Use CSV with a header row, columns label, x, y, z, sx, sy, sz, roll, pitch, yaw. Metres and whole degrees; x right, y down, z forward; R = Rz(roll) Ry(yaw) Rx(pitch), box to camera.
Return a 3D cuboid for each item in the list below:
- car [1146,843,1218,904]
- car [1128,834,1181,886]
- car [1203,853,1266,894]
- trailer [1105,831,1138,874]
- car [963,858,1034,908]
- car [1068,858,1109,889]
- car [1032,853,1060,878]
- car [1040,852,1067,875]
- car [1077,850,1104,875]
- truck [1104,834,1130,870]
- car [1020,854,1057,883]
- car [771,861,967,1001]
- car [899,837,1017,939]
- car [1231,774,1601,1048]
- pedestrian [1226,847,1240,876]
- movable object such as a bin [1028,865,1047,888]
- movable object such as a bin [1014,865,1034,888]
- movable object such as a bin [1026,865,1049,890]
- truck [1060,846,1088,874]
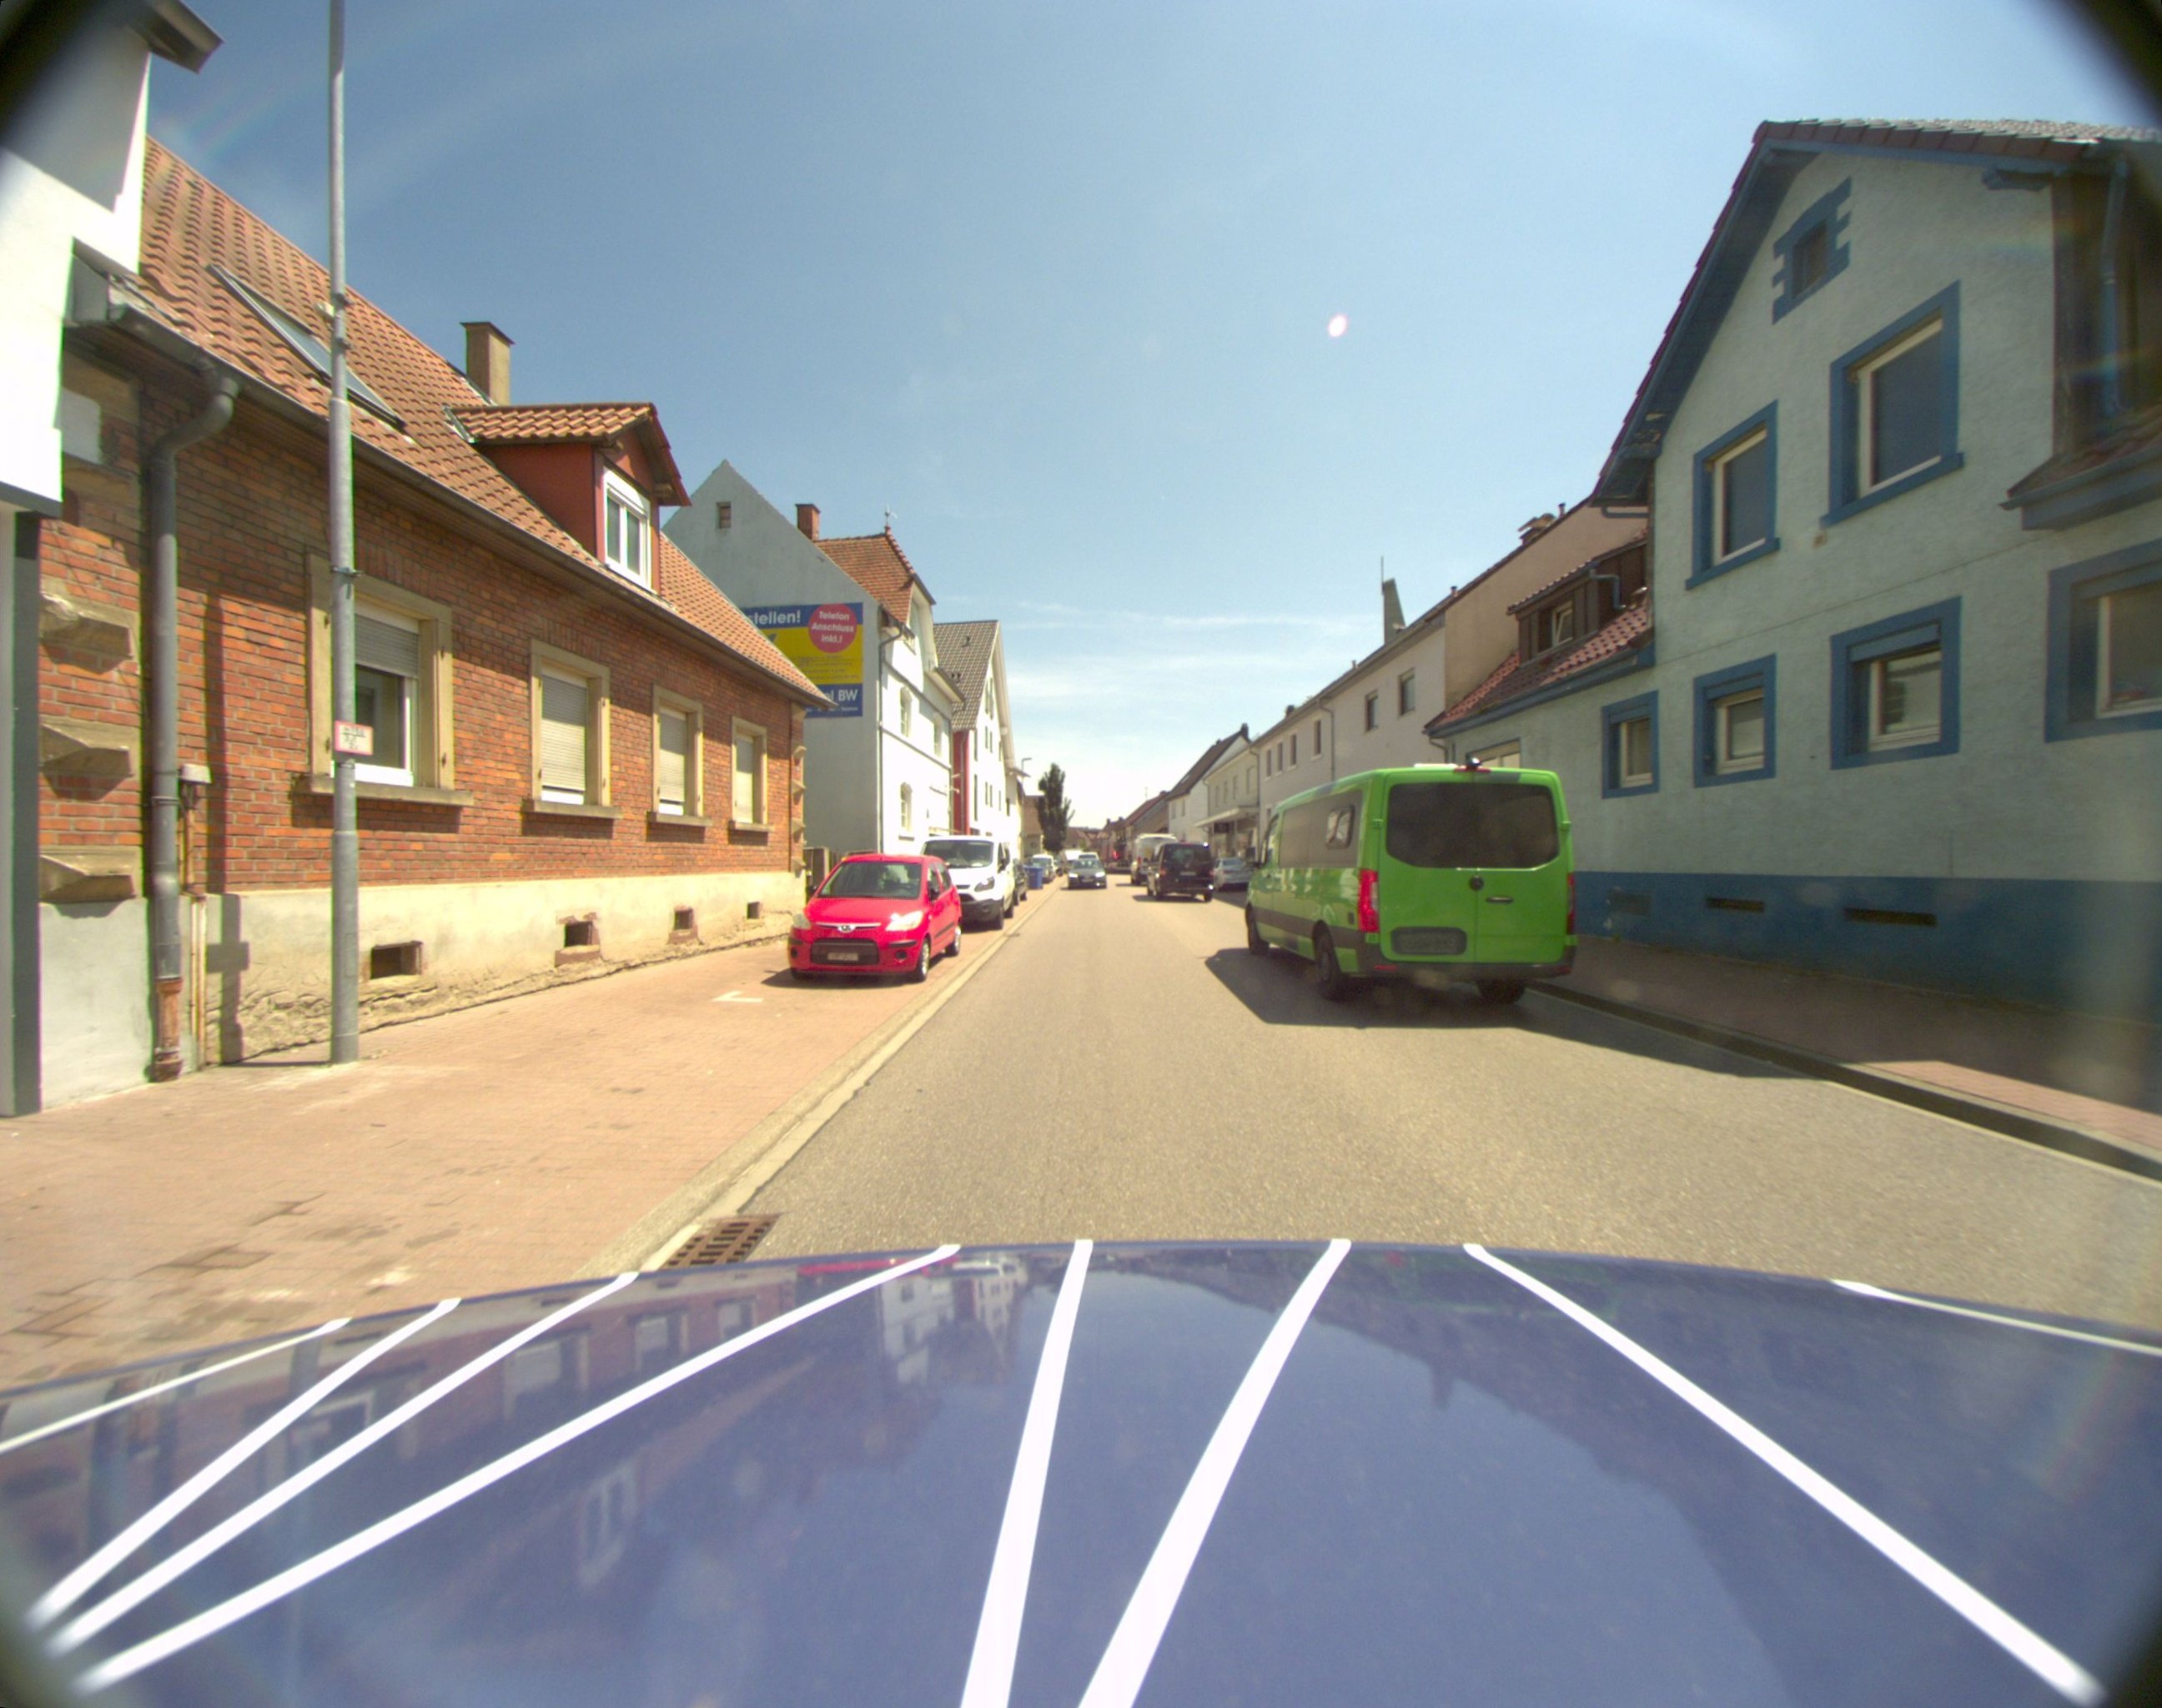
label,x,y,z,sx,sy,sz,roll,pitch,yaw
car,3.444,0.631,26.857,1.886,1.932,5.118,0,0,0
car,3.739,0.298,39.462,2.130,2.527,5.461,1,0,-1
car,6.559,0.774,32.873,1.812,1.548,4.565,-3,0,1
trailer,4.055,-0.190,79.093,2.637,3.956,15.697,1,0,0
car,-2.604,0.877,24.964,1.774,1.457,4.577,0,0,1
car,0.340,0.903,35.842,1.786,1.364,3.607,-1,0,0
car,-2.224,0.714,49.130,1.611,1.513,3.545,2,0,0
car,-2.057,0.724,57.373,1.807,1.604,4.548,1,-1,0
car,0.742,0.679,64.021,2.079,1.949,5.518,-1,0,0
truck,4.082,-0.241,86.662,2.625,3.962,6.852,1,0,0
car,-2.360,0.780,43.042,1.704,1.438,4.836,2,0,1
car,-2.624,0.872,10.255,1.614,1.519,3.676,0,0,0
car,-2.578,0.665,17.079,1.951,1.959,4.784,0,0,-1
car,3.469,0.493,9.560,2.056,2.340,6.082,0,0,1
pedestrian,8.955,0.459,44.816,0.626,1.675,0.771,-1,1,0
movable object such as a bin,-2.002,1.044,35.293,0.656,1.029,0.685,1,1,17
movable object such as a bin,-2.638,1.054,35.491,0.655,1.054,0.836,1,1,17
movable object such as a bin,-1.975,1.055,34.586,0.723,1.067,0.973,1,0,17
truck,-1.041,0.735,99.039,2.868,3.491,8.315,1,0,-6
